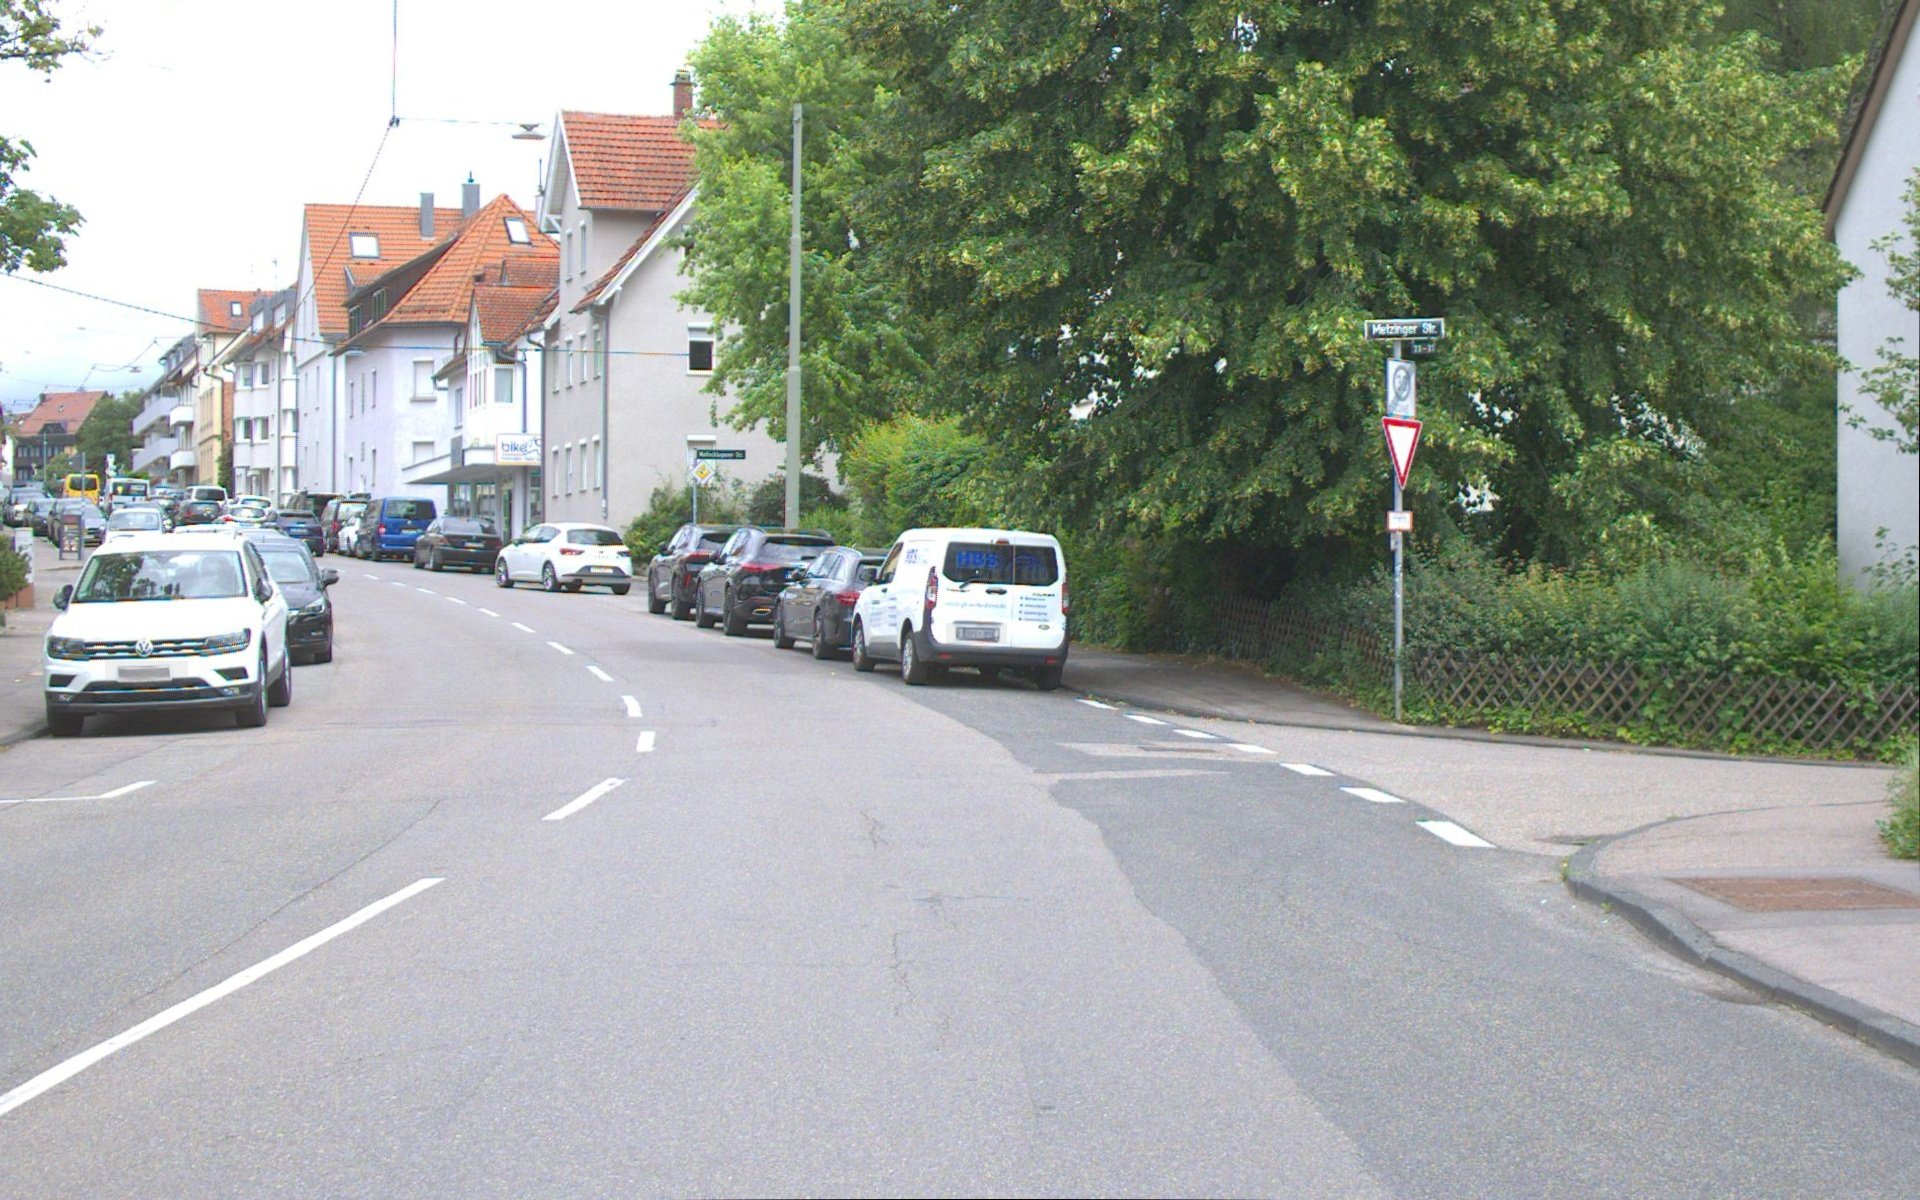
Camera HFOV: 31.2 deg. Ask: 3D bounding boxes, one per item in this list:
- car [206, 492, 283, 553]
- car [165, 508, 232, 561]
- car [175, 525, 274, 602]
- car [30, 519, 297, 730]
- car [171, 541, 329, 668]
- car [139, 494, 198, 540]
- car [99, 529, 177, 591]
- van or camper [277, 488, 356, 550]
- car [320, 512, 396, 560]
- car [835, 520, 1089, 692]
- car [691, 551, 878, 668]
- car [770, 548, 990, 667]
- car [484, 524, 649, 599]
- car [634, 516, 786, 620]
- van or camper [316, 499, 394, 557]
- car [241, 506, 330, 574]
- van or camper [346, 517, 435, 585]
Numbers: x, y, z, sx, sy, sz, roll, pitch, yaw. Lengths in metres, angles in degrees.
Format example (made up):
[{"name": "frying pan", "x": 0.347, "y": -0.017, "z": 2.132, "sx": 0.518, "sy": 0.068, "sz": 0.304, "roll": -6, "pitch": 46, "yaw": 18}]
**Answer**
[{"name": "car", "x": -25.134, "y": -2.729, "z": 120.687, "sx": 2.151, "sy": 2.007, "sz": 4.001, "roll": 2, "pitch": 1, "yaw": -18}, {"name": "car", "x": -30.225, "y": -2.604, "z": 136.375, "sx": 2.151, "sy": 2.007, "sz": 4.001, "roll": 2, "pitch": 1, "yaw": -18}, {"name": "car", "x": -15.272, "y": -0.777, "z": 71.286, "sx": 1.725, "sy": 1.453, "sz": 3.900, "roll": -3, "pitch": 2, "yaw": -15}, {"name": "car", "x": -7.041, "y": 0.166, "z": 30.793, "sx": 1.849, "sy": 1.708, "sz": 4.576, "roll": -1, "pitch": 1, "yaw": -7}, {"name": "car", "x": -8.874, "y": 0.018, "z": 42.779, "sx": 1.762, "sy": 1.433, "sz": 4.079, "roll": -1, "pitch": 2, "yaw": -13}, {"name": "car", "x": -36.013, "y": -3.783, "z": 156.351, "sx": 2.151, "sy": 2.007, "sz": 4.001, "roll": 2, "pitch": 1, "yaw": -18}, {"name": "car", "x": -22.673, "y": -1.115, "z": 94.938, "sx": 1.833, "sy": 1.572, "sz": 4.033, "roll": -3, "pitch": 2, "yaw": -10}, {"name": "van or camper", "x": -23.069, "y": -2.929, "z": 123.161, "sx": 1.993, "sy": 2.058, "sz": 5.947, "roll": 3, "pitch": 1, "yaw": -17}, {"name": "car", "x": -19.241, "y": -2.054, "z": 109.771, "sx": 1.713, "sy": 1.431, "sz": 4.641, "roll": 2, "pitch": 1, "yaw": -18}, {"name": "car", "x": -0.044, "y": 0.025, "z": 39.968, "sx": 1.837, "sy": 1.768, "sz": 4.319, "roll": 3, "pitch": 1, "yaw": -15}, {"name": "car", "x": -2.713, "y": 0.105, "z": 52.065, "sx": 1.993, "sy": 1.610, "sz": 4.541, "roll": 2, "pitch": 0, "yaw": -13}, {"name": "car", "x": -1.120, "y": 0.065, "z": 45.507, "sx": 1.993, "sy": 1.473, "sz": 4.621, "roll": 0, "pitch": 1, "yaw": -13}, {"name": "car", "x": -8.236, "y": -0.823, "z": 71.650, "sx": 1.940, "sy": 1.434, "sz": 4.001, "roll": 1, "pitch": 1, "yaw": -30}, {"name": "car", "x": -4.247, "y": -0.549, "z": 57.757, "sx": 1.810, "sy": 1.610, "sz": 4.541, "roll": 2, "pitch": 0, "yaw": -13}, {"name": "van or camper", "x": -20.384, "y": -2.442, "z": 115.714, "sx": 1.870, "sy": 1.822, "sz": 4.682, "roll": 3, "pitch": 1, "yaw": -18}, {"name": "car", "x": -20.968, "y": -1.878, "z": 106.736, "sx": 2.151, "sy": 2.007, "sz": 4.001, "roll": 2, "pitch": 1, "yaw": -18}, {"name": "van or camper", "x": -17.313, "y": -1.512, "z": 104.374, "sx": 1.926, "sy": 1.919, "sz": 4.832, "roll": 1, "pitch": 1, "yaw": -18}]
